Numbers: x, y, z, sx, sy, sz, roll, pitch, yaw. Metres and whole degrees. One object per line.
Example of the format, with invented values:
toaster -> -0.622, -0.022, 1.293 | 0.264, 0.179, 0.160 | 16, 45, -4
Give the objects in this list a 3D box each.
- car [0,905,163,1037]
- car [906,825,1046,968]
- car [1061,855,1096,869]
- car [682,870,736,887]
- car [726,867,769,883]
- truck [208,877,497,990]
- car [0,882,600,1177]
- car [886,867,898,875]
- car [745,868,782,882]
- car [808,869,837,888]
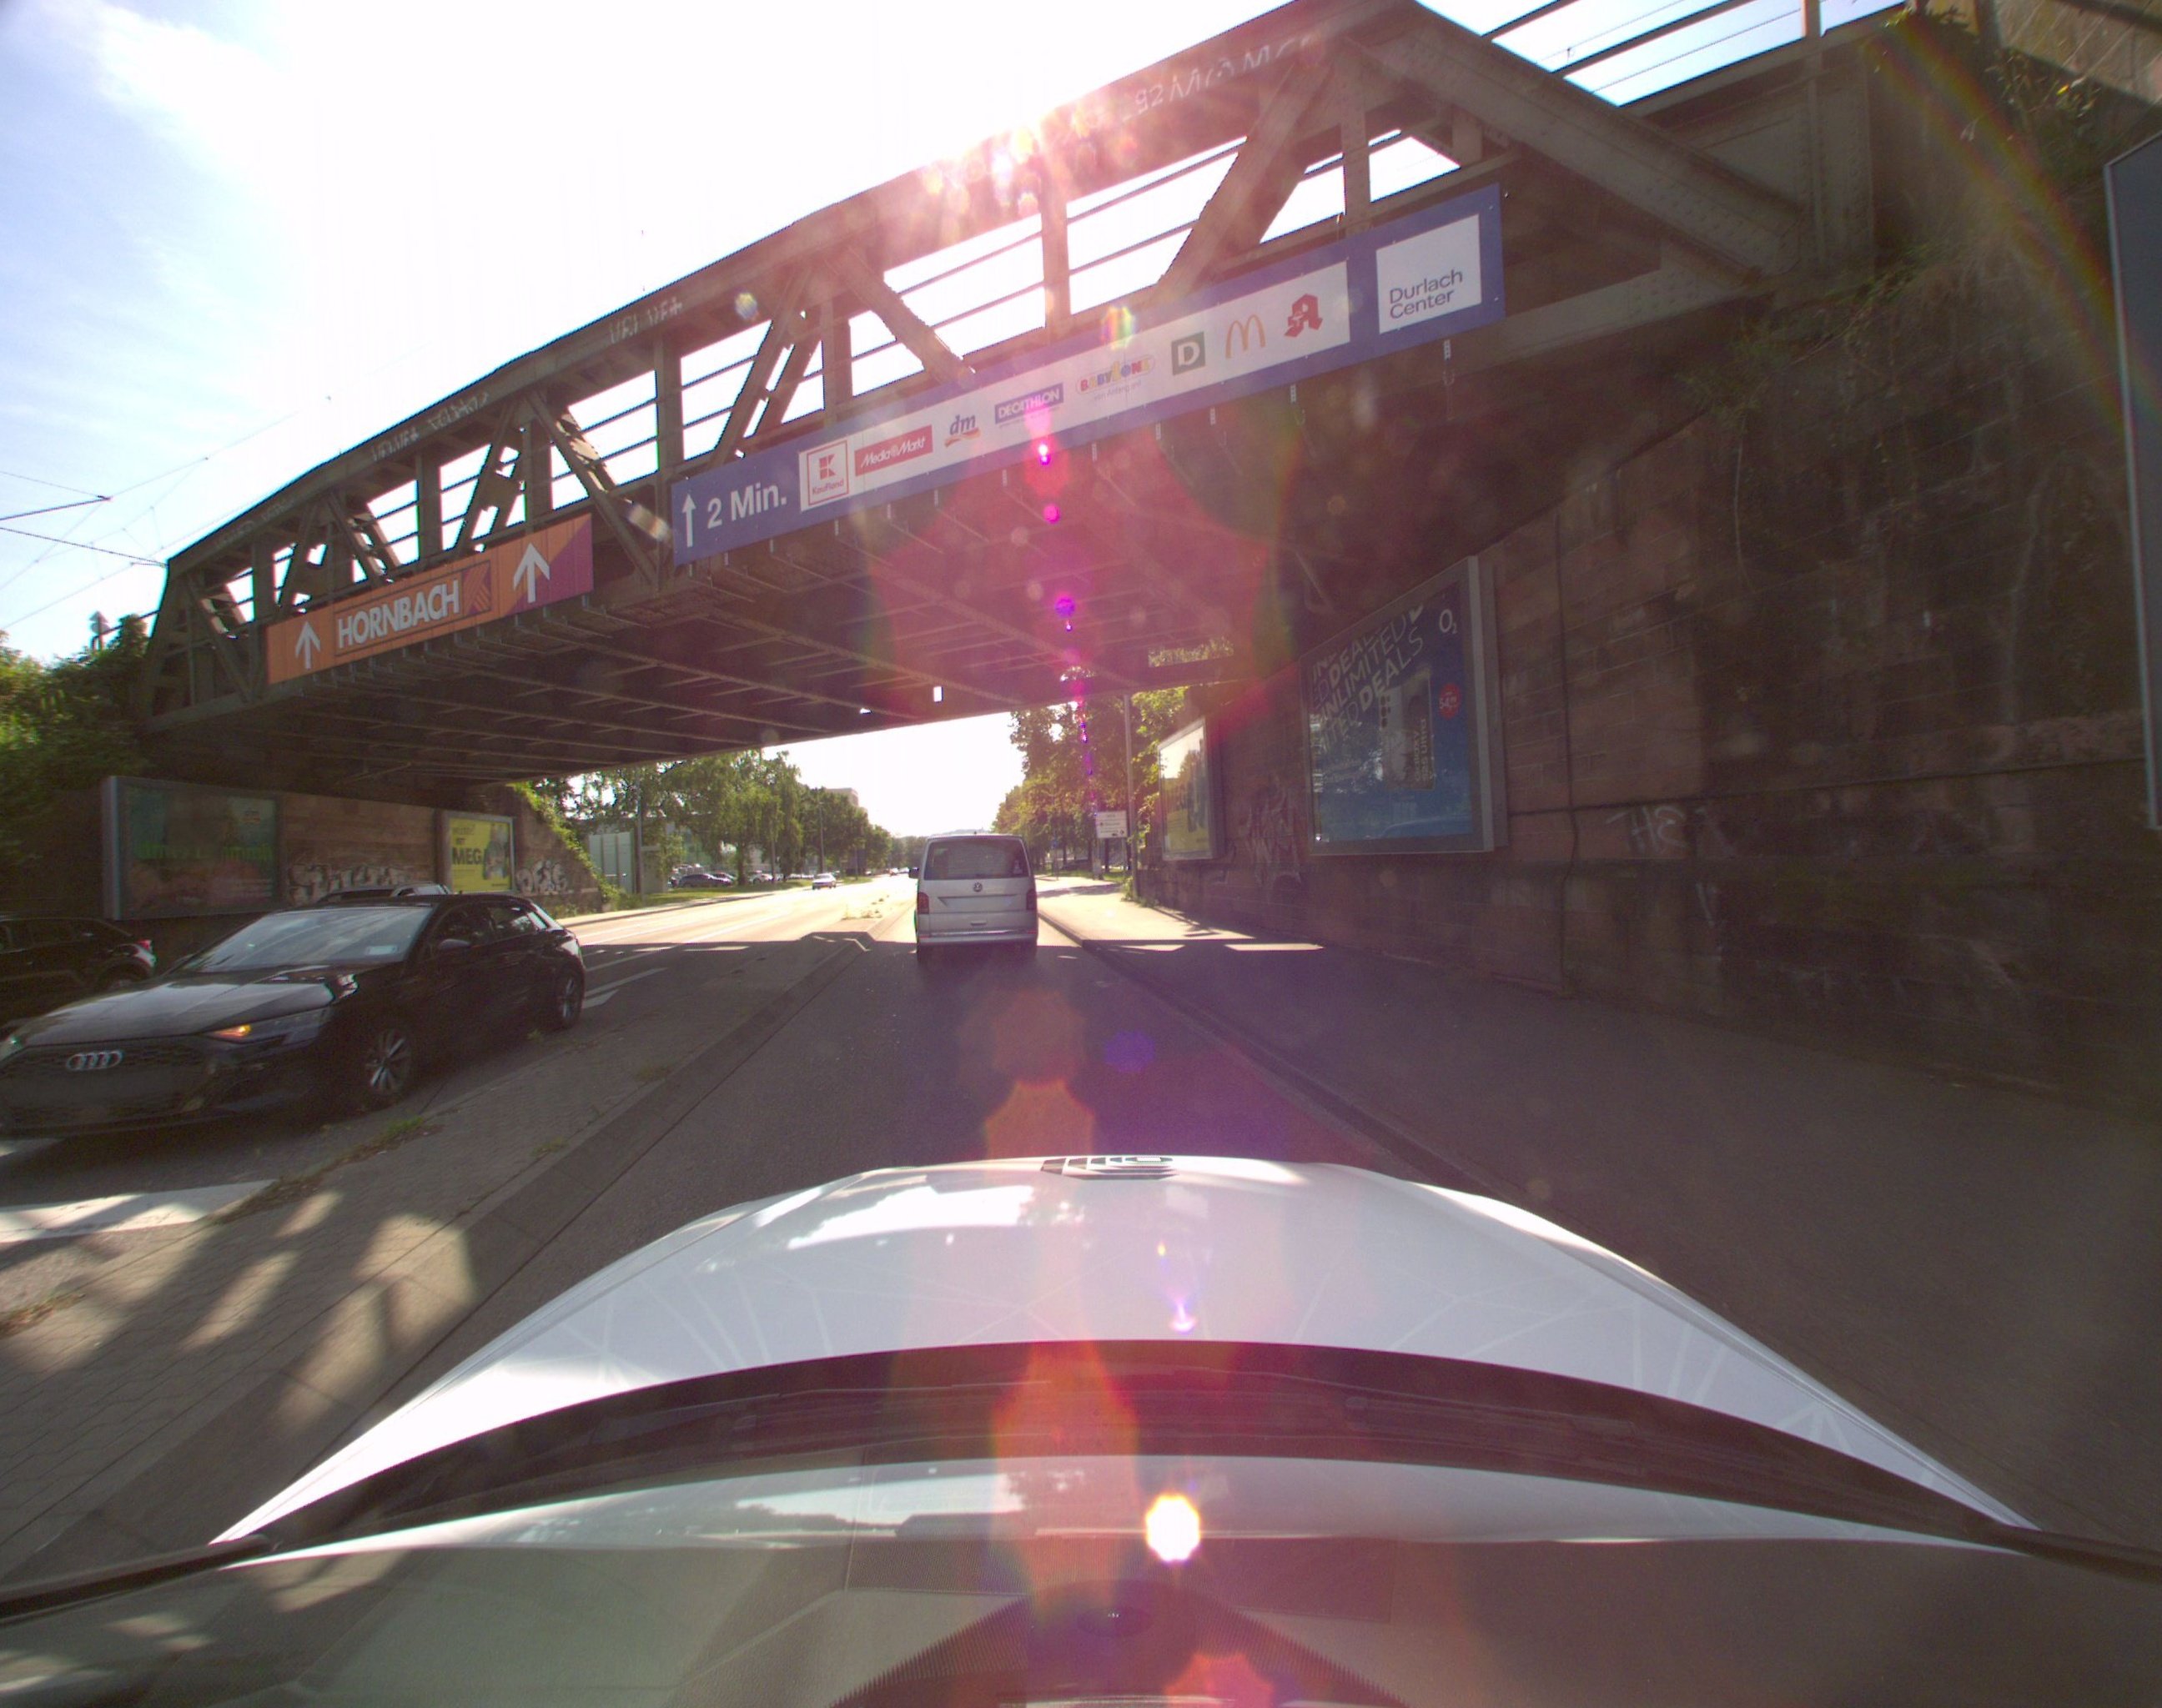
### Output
car -> -13.902, 1.535, 9.659 | 1.817, 1.480, 3.931 | -5, 0, -9
car -> -1.950, 0.623, 14.111 | 1.942, 1.971, 5.002 | -1, -1, -11
car -> -0.326, 0.969, 95.085 | 3.797, 1.416, 1.697 | -3, 0, -8
car -> -34.958, 2.292, 76.684 | 4.246, 1.344, 1.990 | -3, 0, -16
car -> -37.580, 2.381, 91.885 | 4.246, 1.547, 1.856 | -3, 0, -16
truck -> -15.432, 1.540, 17.811 | 2.026, 1.819, 5.308 | -5, 0, -9
car -> -5.702, 1.007, 6.452 | 1.766, 1.395, 4.320 | -3, 0, -10
car -> -35.445, 3.168, 152.981 | 1.970, 1.492, 4.066 | -3, 0, -12
car -> -40.842, 2.750, 104.894 | 4.246, 1.547, 1.856 | -3, 0, -16
car -> -23.579, 2.203, 74.364 | 1.970, 1.492, 4.066 | -3, 0, -12
